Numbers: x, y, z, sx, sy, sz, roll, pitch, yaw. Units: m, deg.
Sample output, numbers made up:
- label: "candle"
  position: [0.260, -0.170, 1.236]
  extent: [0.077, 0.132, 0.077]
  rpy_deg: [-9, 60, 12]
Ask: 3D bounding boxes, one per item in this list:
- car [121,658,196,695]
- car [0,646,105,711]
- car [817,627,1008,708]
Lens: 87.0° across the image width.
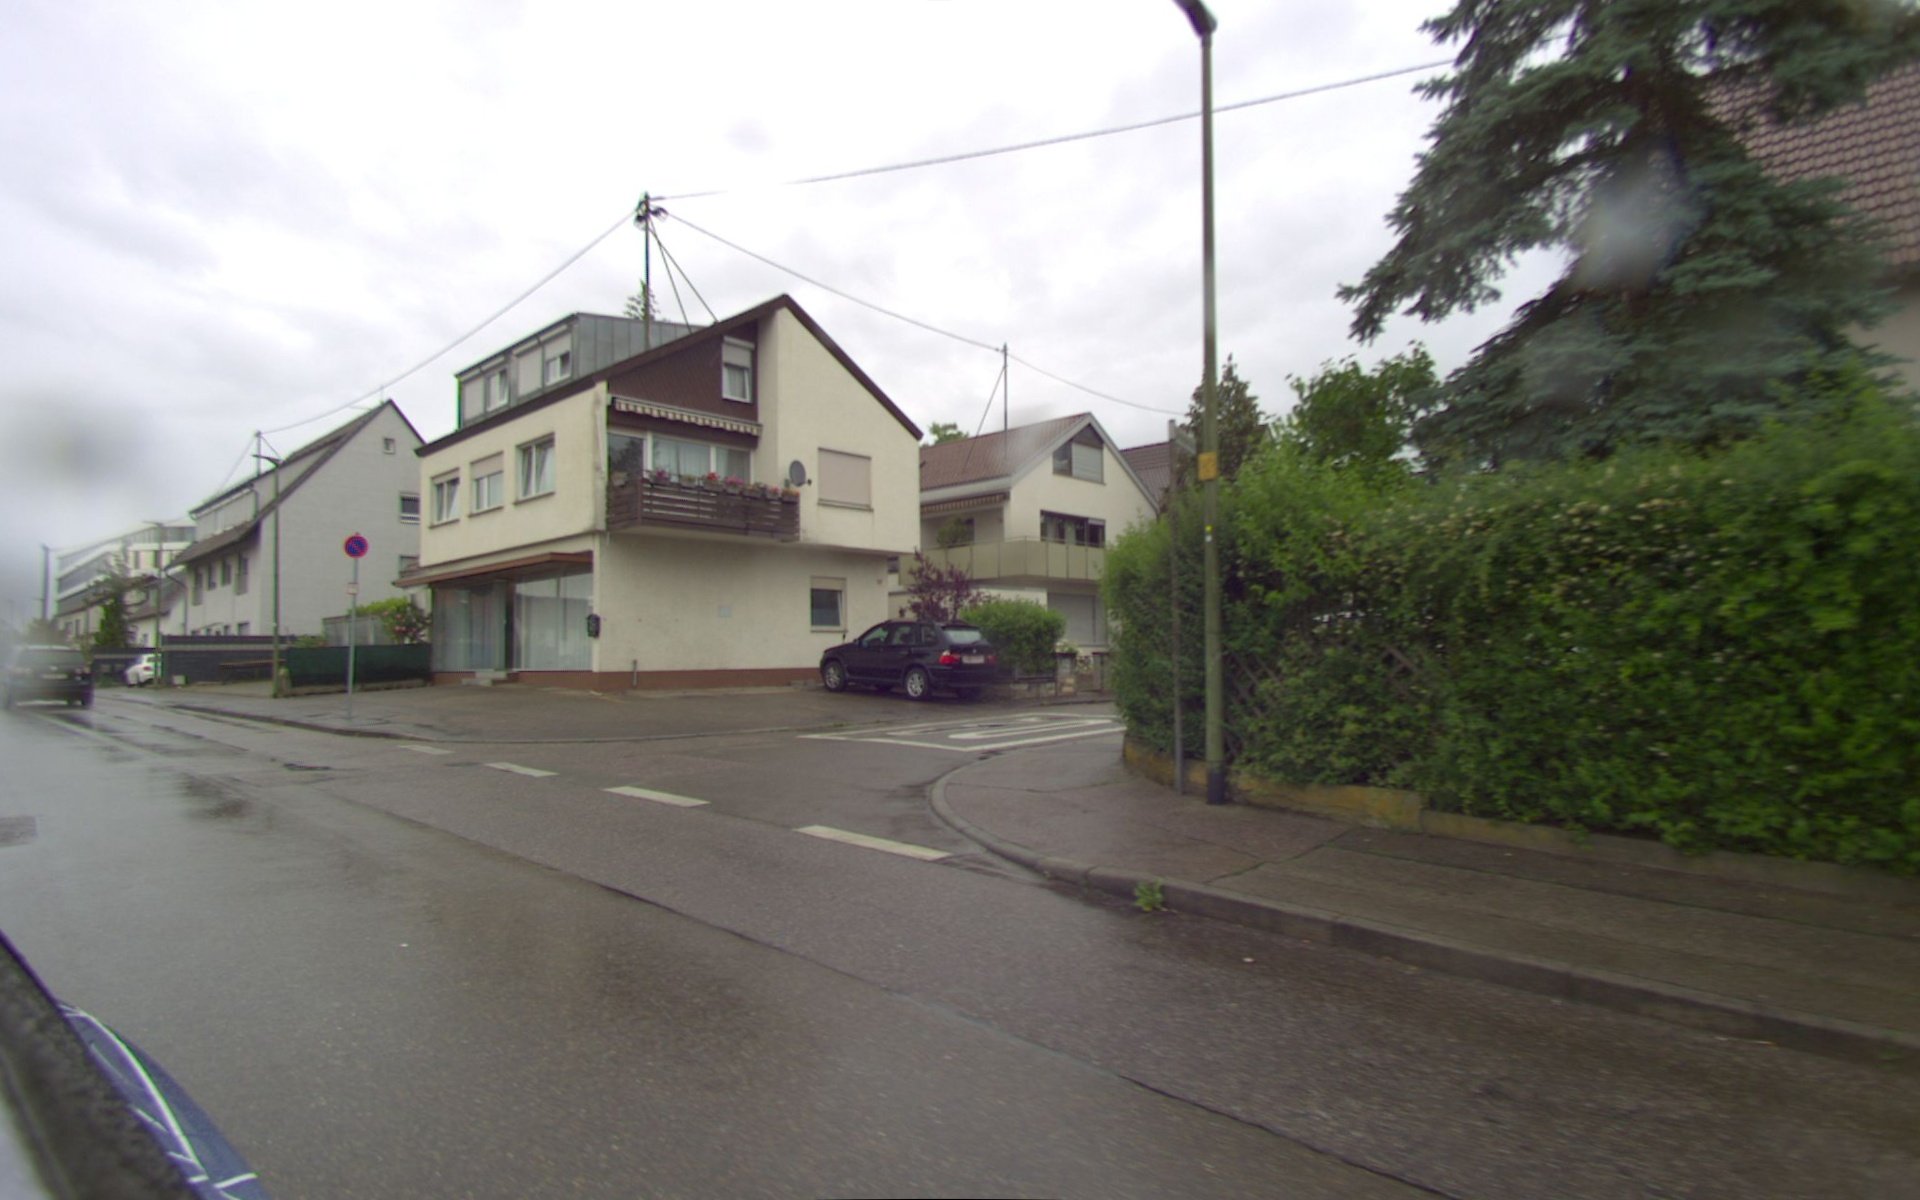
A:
- label: "car"
  position: [-35.956, 3.407, 45.367]
  extent: [3.998, 1.544, 1.873]
  rpy_deg: [-2, -4, 41]
- label: "car"
  position: [-24.167, 2.016, 26.649]
  extent: [3.998, 1.544, 1.873]
  rpy_deg: [-2, -4, 41]
- label: "car"
  position: [-1.143, 1.499, 23.037]
  extent: [4.198, 1.669, 1.972]
  rpy_deg: [-2, -4, 43]
